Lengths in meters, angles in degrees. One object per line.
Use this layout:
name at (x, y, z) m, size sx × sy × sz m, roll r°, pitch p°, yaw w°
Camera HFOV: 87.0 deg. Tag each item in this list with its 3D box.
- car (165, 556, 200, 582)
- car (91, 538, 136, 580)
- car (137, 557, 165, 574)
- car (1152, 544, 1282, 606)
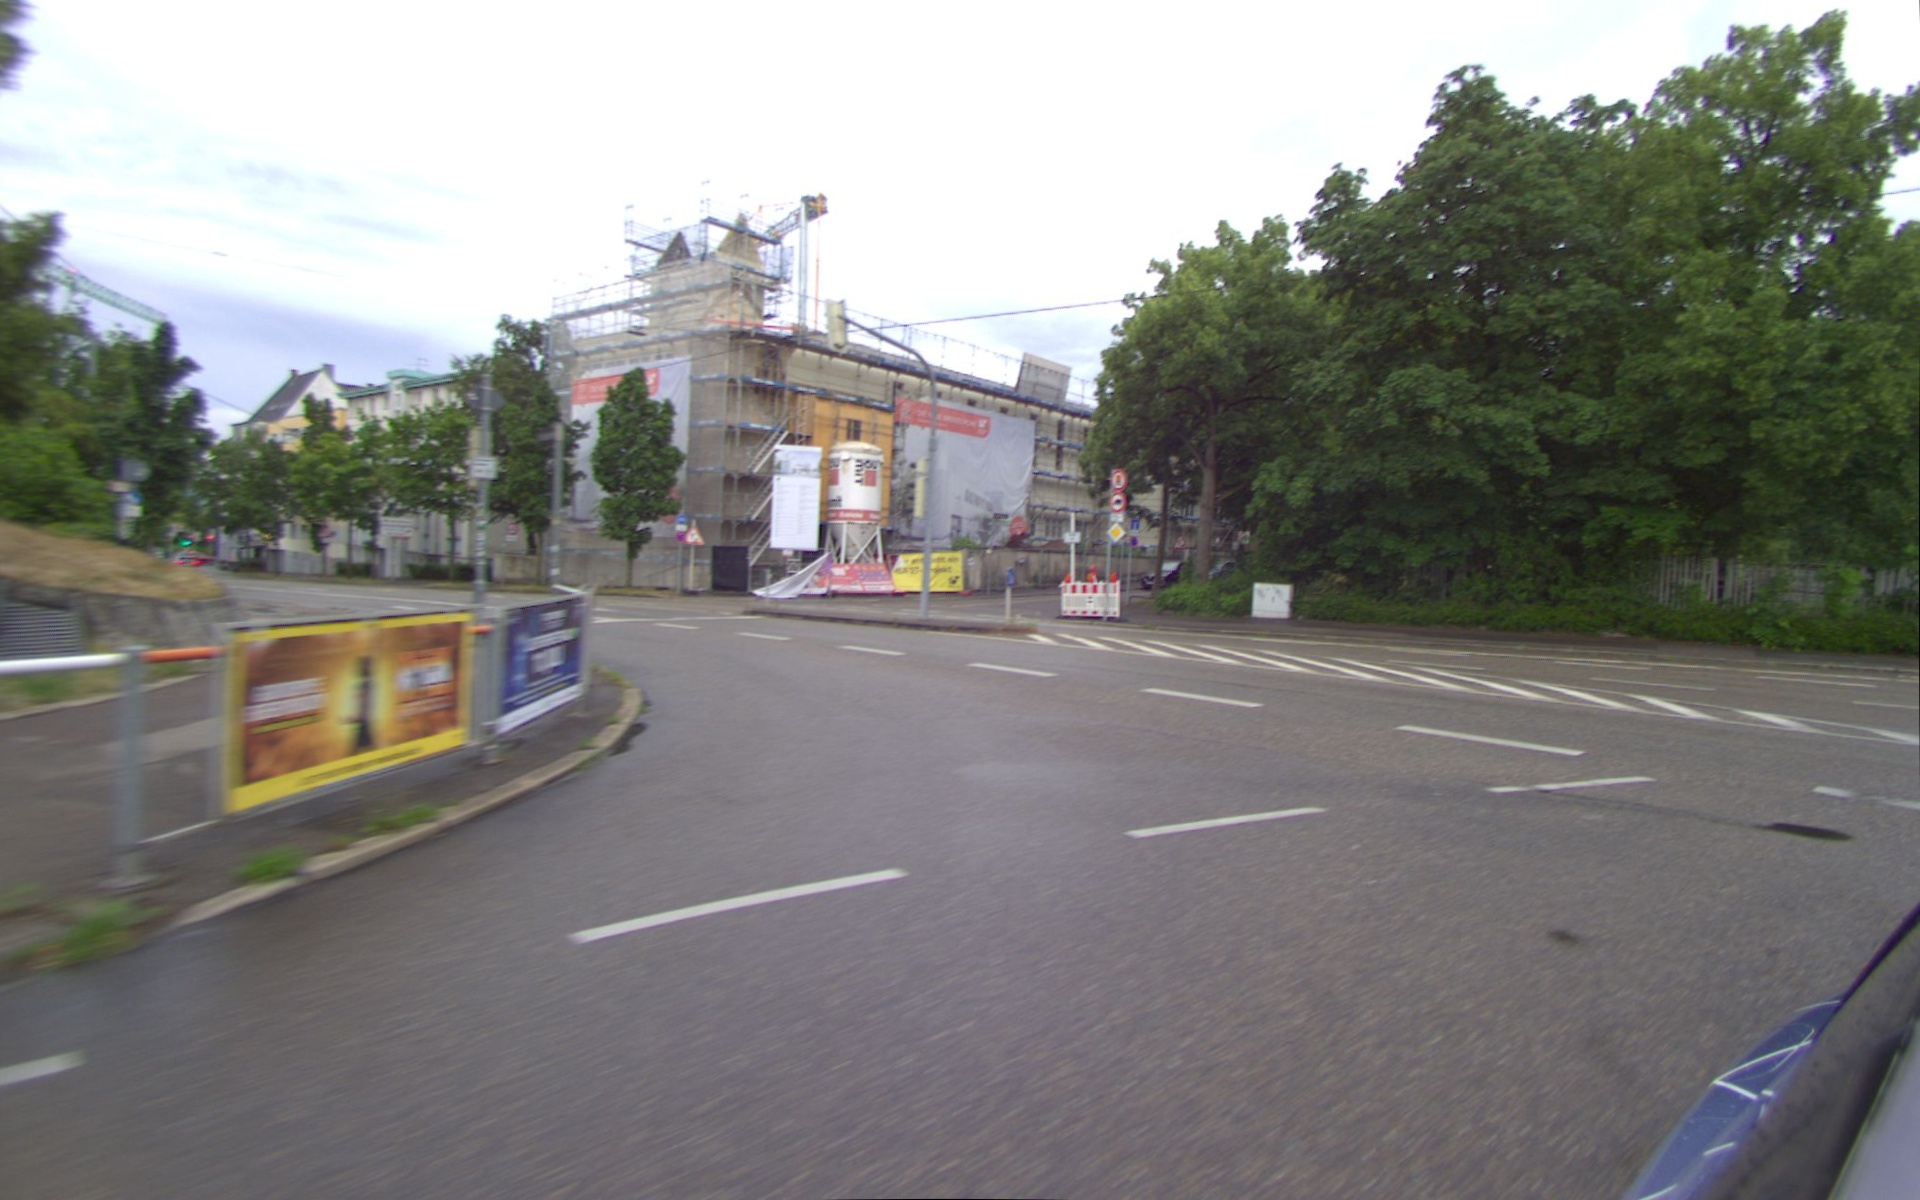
car at (-65.042, -2.591, 84.666) m, size 1.966 × 2.038 × 3.993 m, roll 1°, pitch 3°, yaw -43°
car at (-49.006, -2.391, 58.568) m, size 1.810 × 2.238 × 3.993 m, roll 1°, pitch 2°, yaw -43°
car at (-76.327, -3.244, 95.466) m, size 1.751 × 1.457 × 3.864 m, roll 0°, pitch 3°, yaw -43°
car at (9.041, -0.898, 35.819) m, size 3.920 × 2.038 × 2.003 m, roll 1°, pitch 3°, yaw -5°
